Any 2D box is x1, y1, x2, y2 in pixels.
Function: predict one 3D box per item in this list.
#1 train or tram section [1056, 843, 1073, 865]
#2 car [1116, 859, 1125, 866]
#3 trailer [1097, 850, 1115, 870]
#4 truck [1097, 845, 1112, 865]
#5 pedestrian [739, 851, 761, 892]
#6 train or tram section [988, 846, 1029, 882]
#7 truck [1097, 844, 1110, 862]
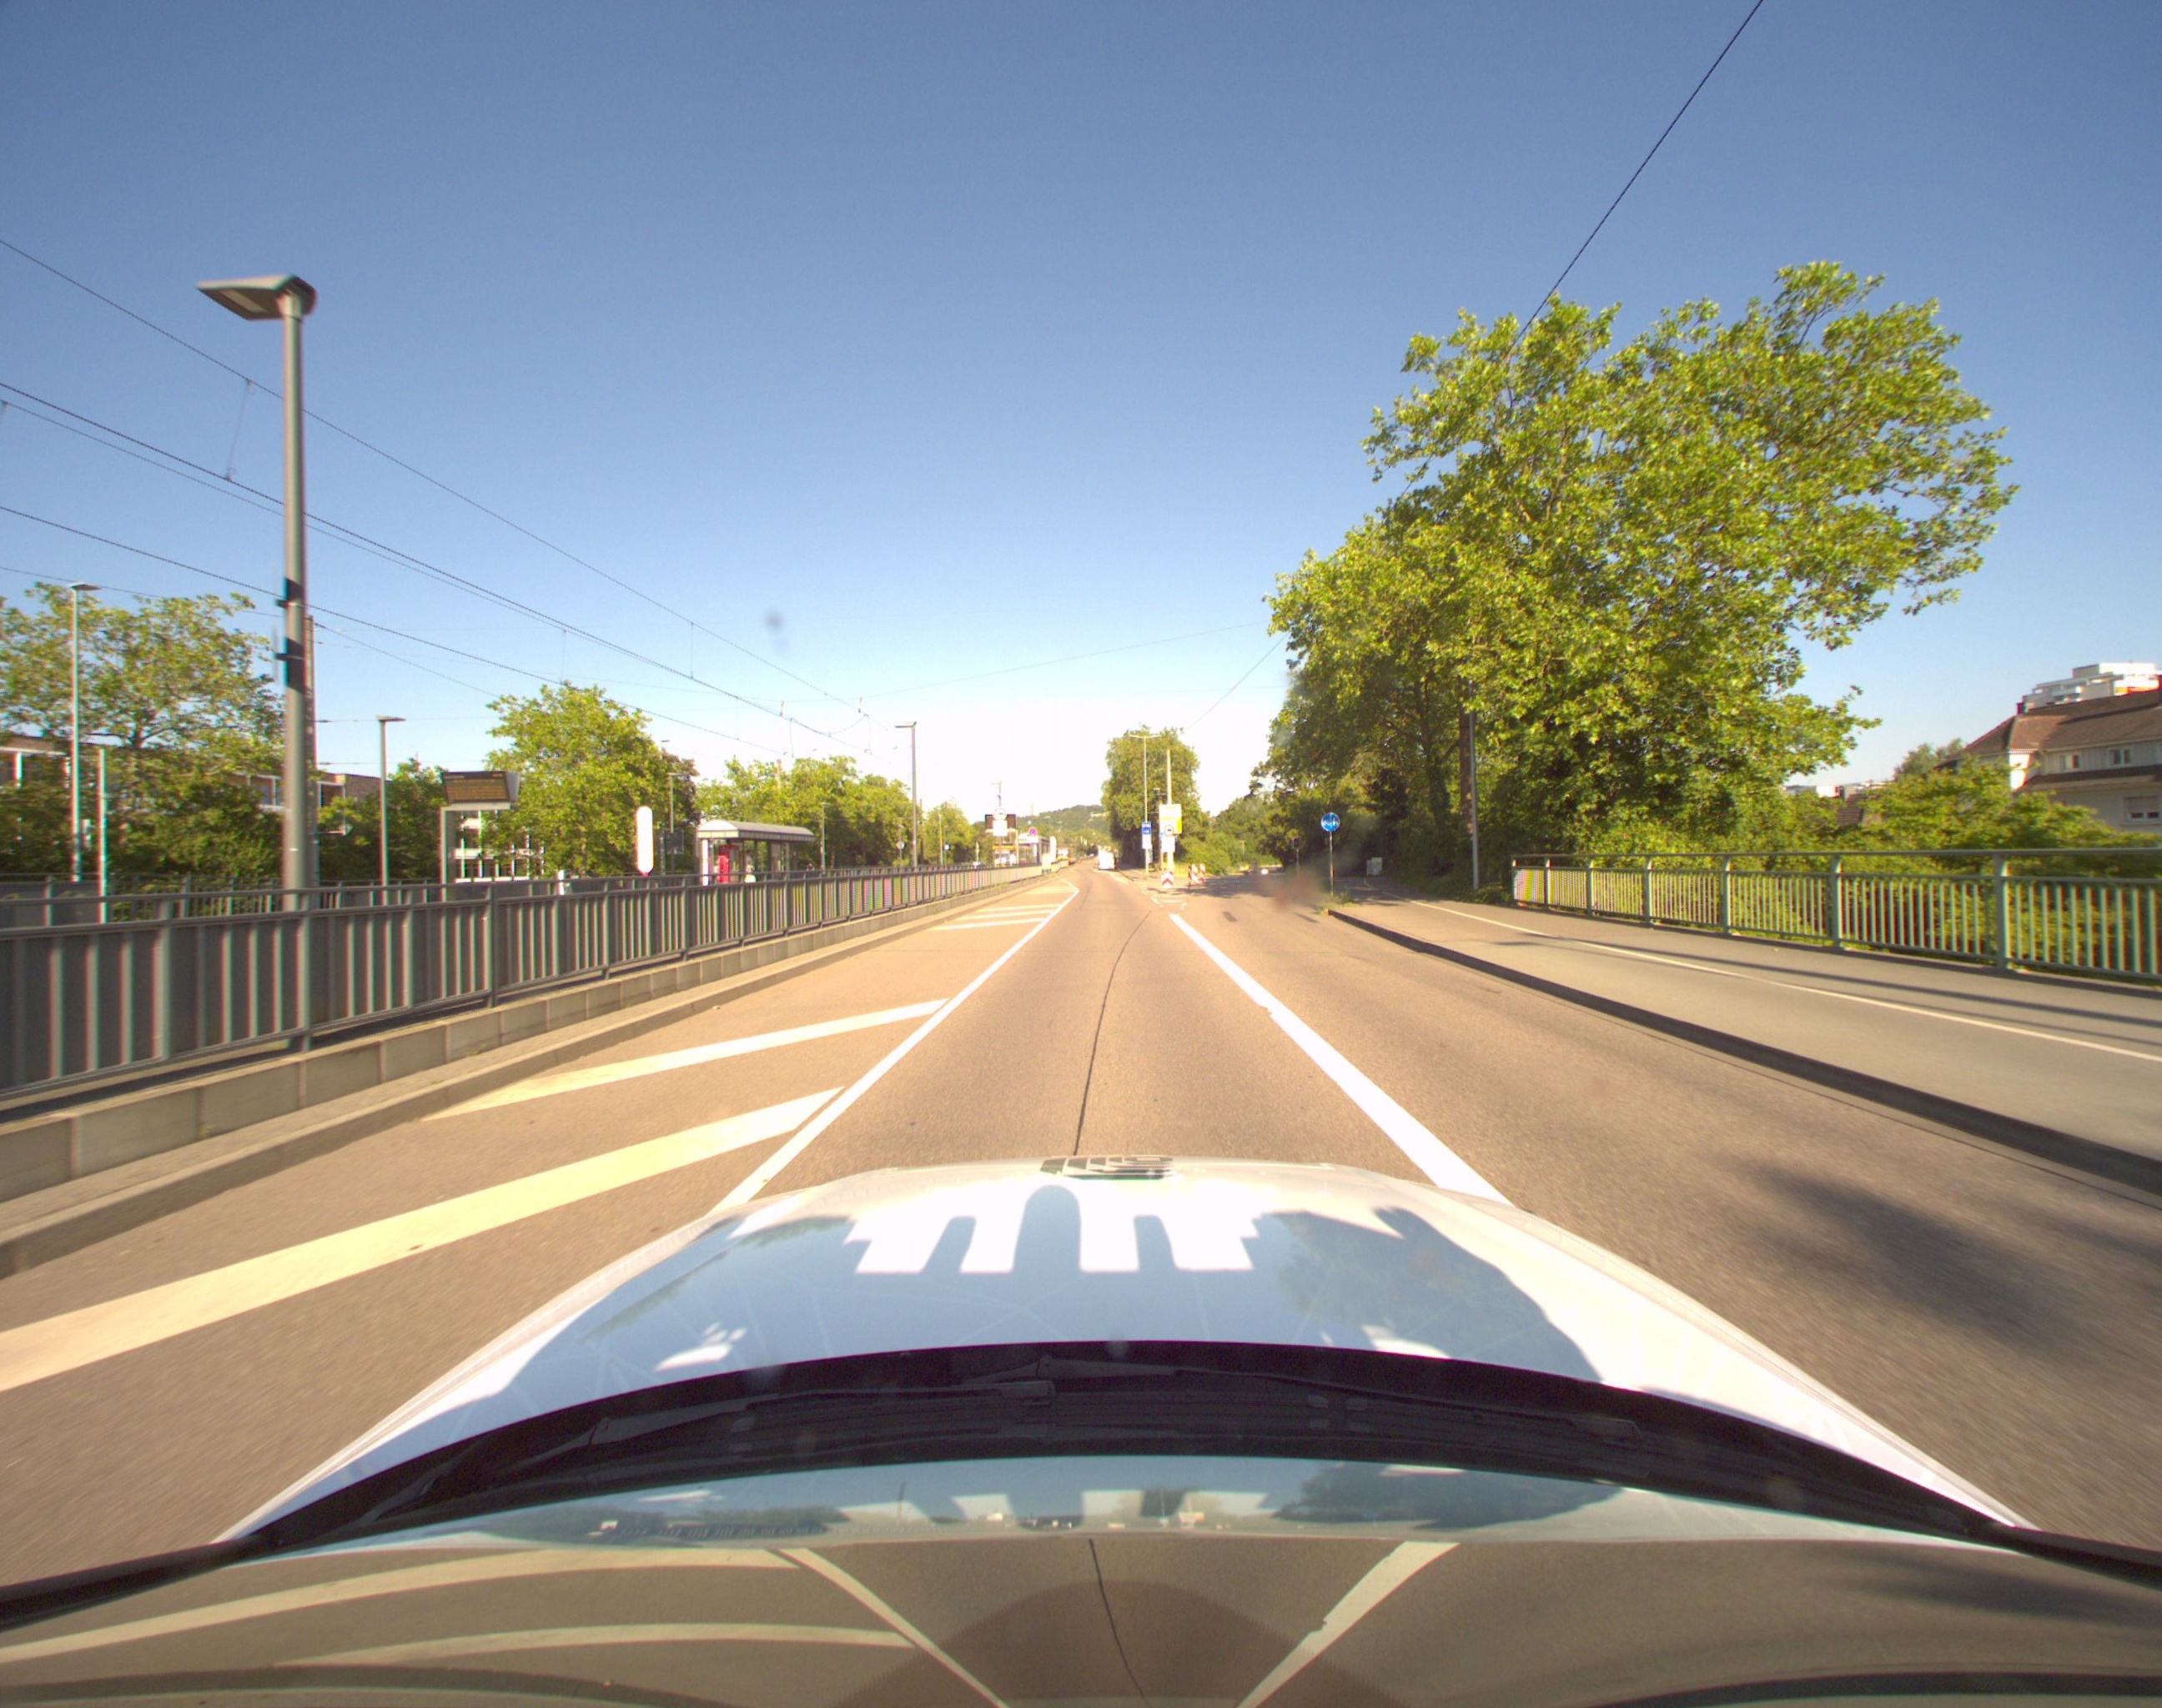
[{"bbox_3d":[-3.214,0.022,162.446,2.711,4.091,13.620,-2,0,2],"label":"train or tram section"},{"bbox_3d":[7.720,1.643,159.924,1.646,1.437,3.780,-1,0,3],"label":"car"},{"bbox_3d":[3.514,0.836,113.769,2.241,2.694,5.954,-1,0,4],"label":"trailer"},{"bbox_3d":[4.614,0.154,161.727,2.732,3.783,10.091,1,0,1],"label":"truck"},{"bbox_3d":[-14.208,0.748,34.930,0.692,1.757,0.592,-1,-1,37],"label":"pedestrian"},{"bbox_3d":[-8.563,1.148,97.941,2.816,4.006,15.883,0,0,2],"label":"train or tram section"},{"bbox_3d":[4.882,-0.133,179.537,2.707,3.783,9.763,1,0,1],"label":"truck"}]
